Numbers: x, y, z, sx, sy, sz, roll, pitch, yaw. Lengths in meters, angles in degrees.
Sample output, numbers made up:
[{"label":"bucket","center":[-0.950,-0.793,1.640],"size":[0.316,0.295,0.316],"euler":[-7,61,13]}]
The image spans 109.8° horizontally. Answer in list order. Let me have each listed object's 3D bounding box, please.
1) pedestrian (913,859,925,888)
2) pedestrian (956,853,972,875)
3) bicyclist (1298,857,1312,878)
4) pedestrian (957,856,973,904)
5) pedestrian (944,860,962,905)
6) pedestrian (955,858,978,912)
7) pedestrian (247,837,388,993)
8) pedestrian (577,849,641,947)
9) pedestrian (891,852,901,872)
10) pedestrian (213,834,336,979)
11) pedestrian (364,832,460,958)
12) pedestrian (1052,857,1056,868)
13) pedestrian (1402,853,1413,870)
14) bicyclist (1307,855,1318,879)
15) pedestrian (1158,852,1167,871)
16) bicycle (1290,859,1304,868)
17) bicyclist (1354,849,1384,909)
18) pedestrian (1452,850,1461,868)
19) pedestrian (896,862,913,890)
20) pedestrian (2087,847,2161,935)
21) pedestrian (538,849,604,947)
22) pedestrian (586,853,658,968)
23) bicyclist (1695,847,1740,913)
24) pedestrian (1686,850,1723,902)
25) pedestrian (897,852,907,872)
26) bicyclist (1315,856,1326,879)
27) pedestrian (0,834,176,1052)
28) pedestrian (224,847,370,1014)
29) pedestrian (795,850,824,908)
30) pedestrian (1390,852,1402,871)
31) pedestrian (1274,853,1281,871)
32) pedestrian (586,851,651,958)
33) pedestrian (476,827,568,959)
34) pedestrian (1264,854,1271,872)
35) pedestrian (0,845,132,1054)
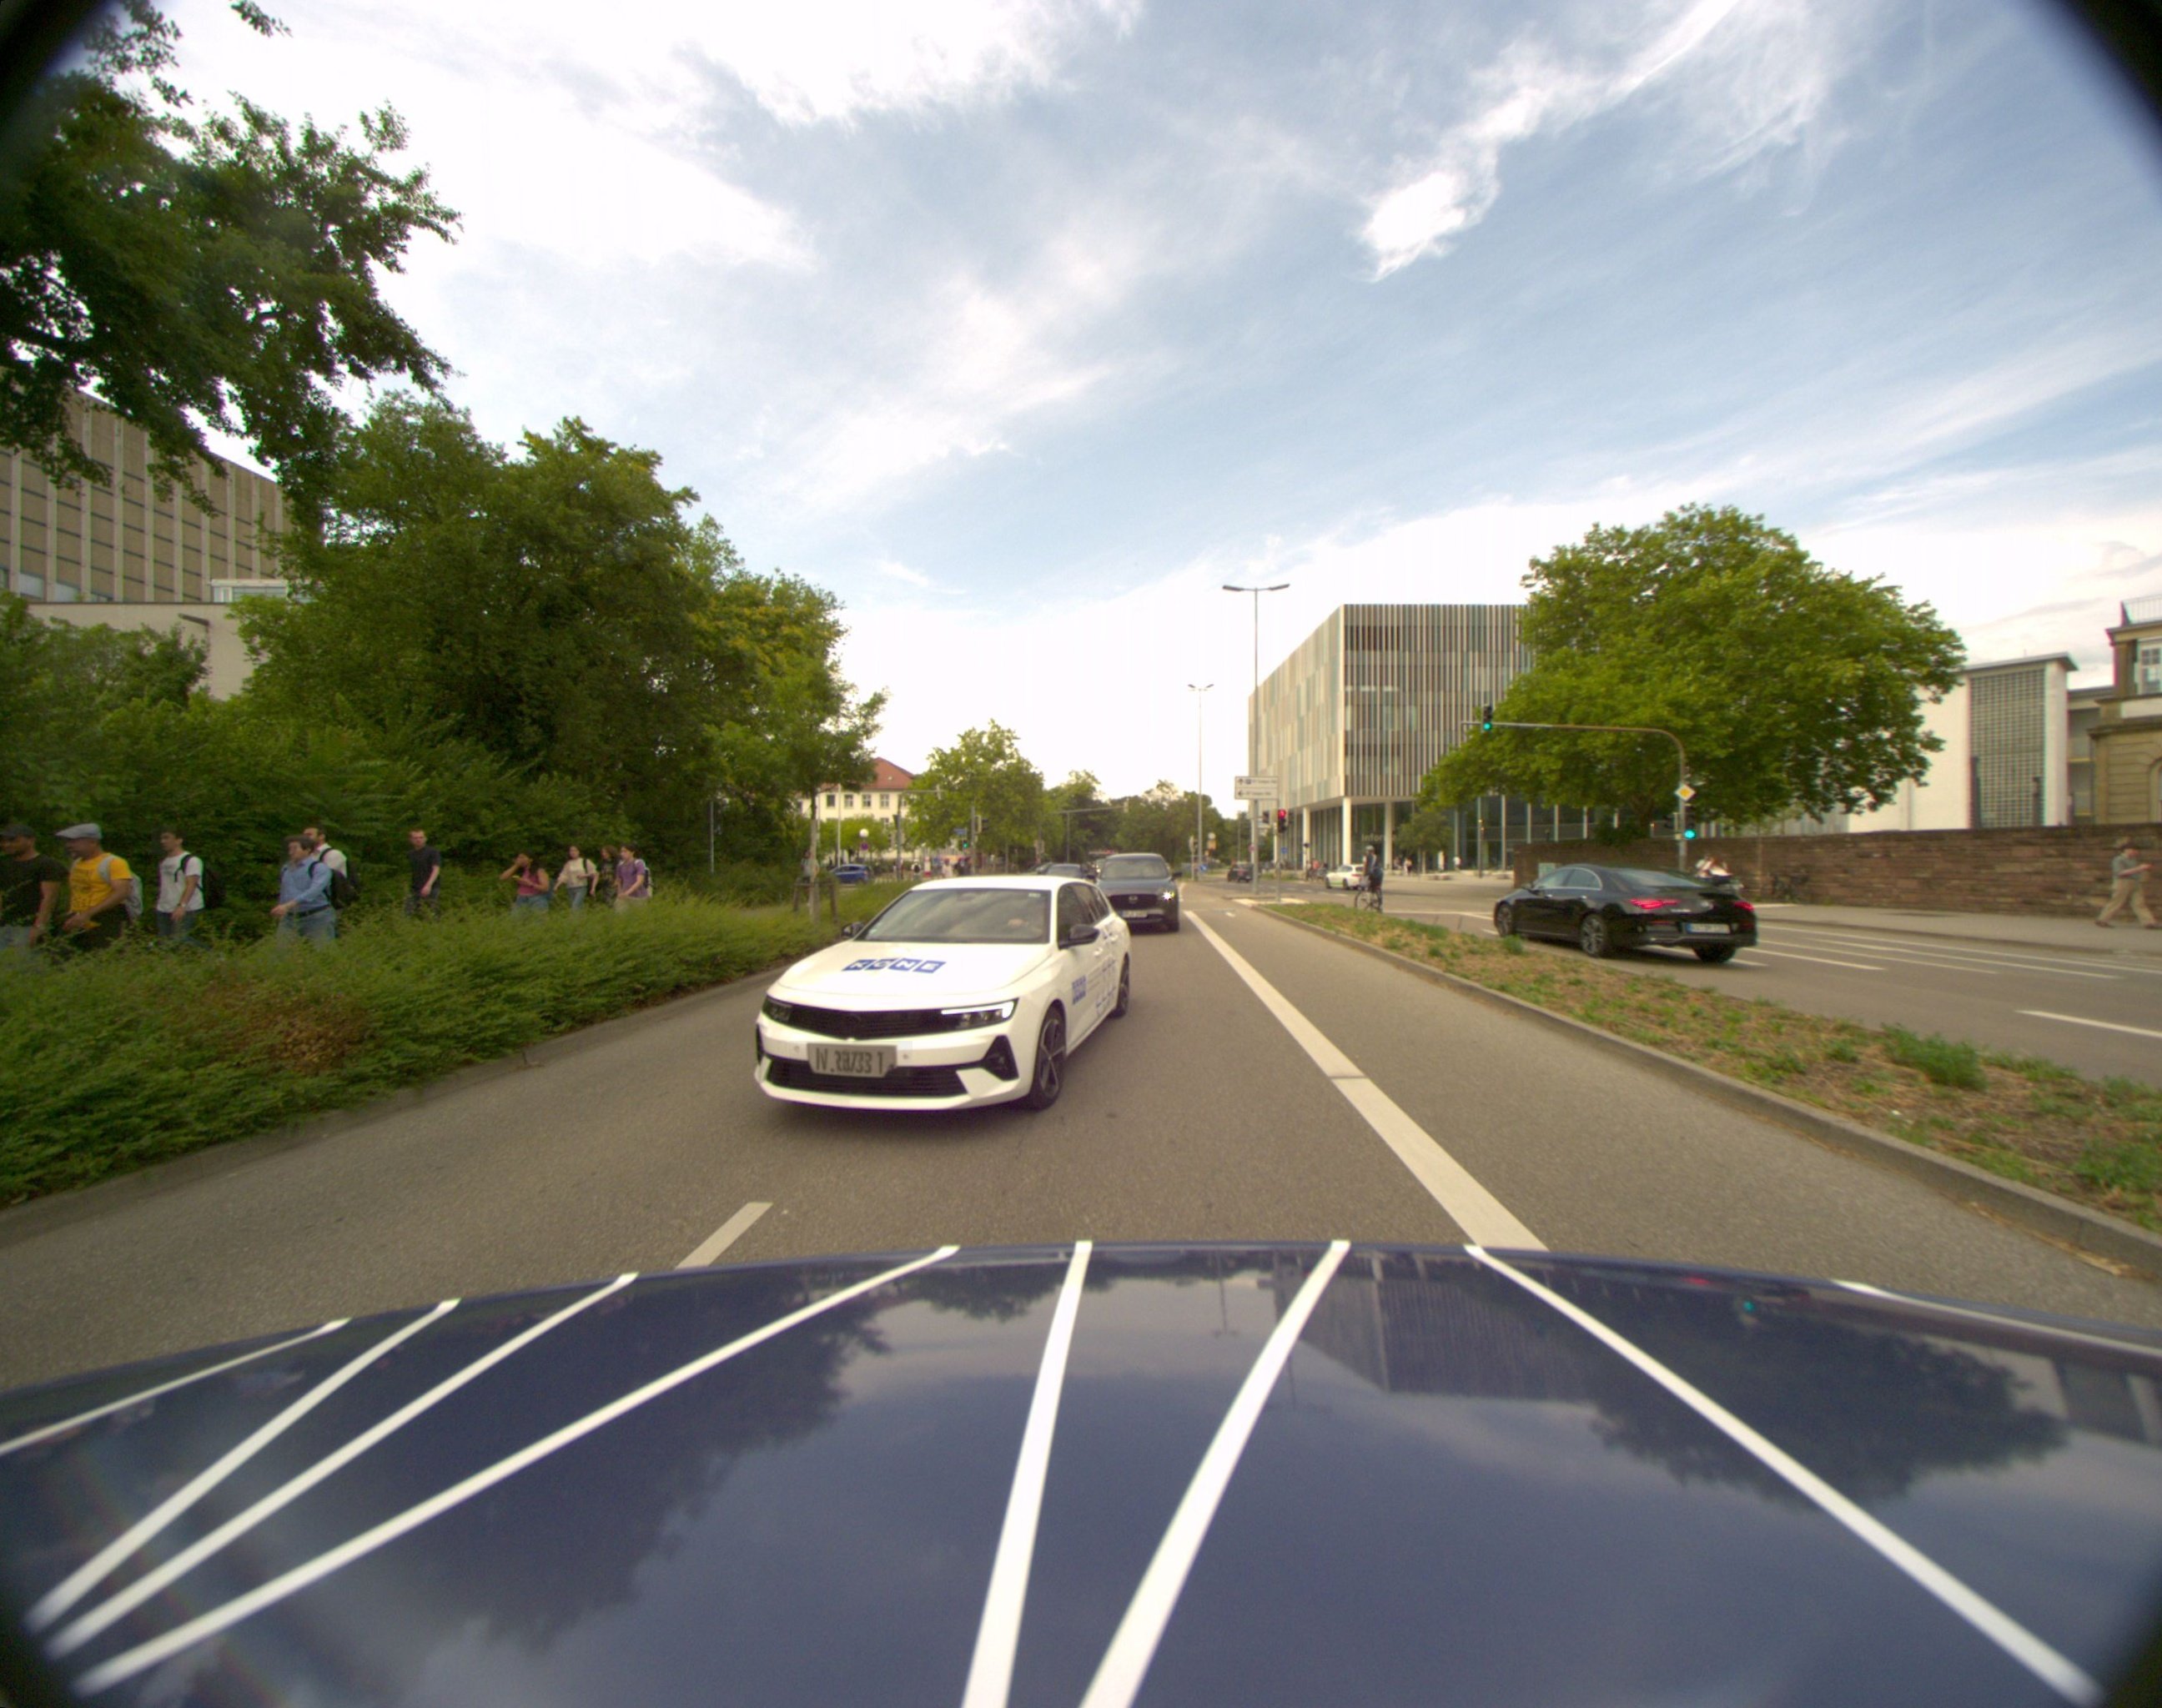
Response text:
[{"label":"pedestrian","center":[-10.463,1.274,49.141],"size":[0.647,1.841,0.828],"euler":[-2,1,-10]},{"label":"pedestrian","center":[-8.965,0.776,58.254],"size":[0.953,1.698,0.703],"euler":[-2,0,20]},{"label":"bicyclist","center":[18.054,1.120,61.268],"size":[0.729,1.663,0.723],"euler":[-2,1,-13]},{"label":"pedestrian","center":[-4.186,0.938,27.439],"size":[0.455,1.725,0.637],"euler":[0,0,2]},{"label":"pedestrian","center":[-4.854,1.065,28.829],"size":[0.547,1.677,0.637],"euler":[0,0,2]},{"label":"pedestrian","center":[-3.693,0.989,24.550],"size":[0.603,1.725,0.654],"euler":[0,0,2]},{"label":"pedestrian","center":[-9.105,0.699,9.102],"size":[0.658,1.756,0.958],"euler":[-2,0,2]},{"label":"pedestrian","center":[-8.571,0.772,13.829],"size":[0.658,1.735,0.780],"euler":[0,0,2]},{"label":"pedestrian","center":[-18.120,0.763,74.357],"size":[0.687,1.951,0.601],"euler":[-2,1,-38]},{"label":"pedestrian","center":[-9.810,0.616,9.272],"size":[0.658,1.689,0.780],"euler":[0,0,2]},{"label":"pedestrian","center":[-9.485,0.564,10.796],"size":[0.658,1.735,0.780],"euler":[0,0,2]},{"label":"pedestrian","center":[-4.998,1.561,140.001],"size":[0.798,1.922,0.760],"euler":[0,0,0]},{"label":"pedestrian","center":[29.844,0.691,69.472],"size":[0.731,1.591,0.677],"euler":[-1,0,-30]},{"label":"bicyclist","center":[18.058,1.016,59.237],"size":[0.602,1.796,0.561],"euler":[-2,1,-13]},{"label":"pedestrian","center":[8.030,0.773,75.015],"size":[0.727,1.842,1.064],"euler":[0,0,-1]},{"label":"bicycle","center":[27.408,1.185,96.384],"size":[1.581,1.017,0.389],"euler":[-2,0,-4]},{"label":"bicyclist","center":[7.581,0.648,20.021],"size":[0.573,1.564,0.700],"euler":[0,0,8]},{"label":"pedestrian","center":[38.033,0.530,77.042],"size":[0.598,1.768,0.635],"euler":[-1,1,-44]},{"label":"pedestrian","center":[-11.626,1.450,50.037],"size":[0.769,1.794,0.892],"euler":[-2,0,6]},{"label":"pedestrian","center":[21.944,0.757,15.991],"size":[0.748,1.772,0.782],"euler":[-1,2,-29]},{"label":"pedestrian","center":[-9.262,0.776,13.831],"size":[0.658,1.735,0.780],"euler":[0,0,2]},{"label":"pedestrian","center":[-7.142,0.856,11.856],"size":[0.625,1.735,0.780],"euler":[0,0,2]},{"label":"bicyclist","center":[17.398,0.693,20.783],"size":[0.619,1.772,0.812],"euler":[0,0,9]},{"label":"pedestrian","center":[22.103,0.759,26.936],"size":[0.748,1.772,0.782],"euler":[-1,2,-31]},{"label":"pedestrian","center":[-17.650,0.752,75.066],"size":[0.687,1.951,0.601],"euler":[-2,1,-38]},{"label":"bicyclist","center":[18.209,1.017,57.733],"size":[0.602,1.796,0.561],"euler":[0,0,-14]},{"label":"pedestrian","center":[-8.337,0.690,6.292],"size":[0.658,1.679,0.842],"euler":[0,0,2]},{"label":"pedestrian","center":[-8.085,0.751,7.874],"size":[0.658,1.638,0.812],"euler":[0,0,2]},{"label":"pedestrian","center":[-8.532,0.781,23.916],"size":[0.646,1.784,0.740],"euler":[0,-1,2]},{"label":"pedestrian","center":[29.142,0.695,70.259],"size":[0.731,1.730,0.677],"euler":[-1,0,-33]},{"label":"pedestrian","center":[20.078,0.848,77.725],"size":[0.512,1.826,0.624],"euler":[0,-1,0]},{"label":"pedestrian","center":[-7.699,0.816,12.684],"size":[0.582,1.735,0.790],"euler":[0,0,2]},{"label":"pedestrian","center":[-7.581,0.510,10.339],"size":[0.658,1.735,0.780],"euler":[0,0,2]},{"label":"pedestrian","center":[19.065,0.923,77.497],"size":[0.512,1.826,0.772],"euler":[0,-1,0]},{"label":"pedestrian","center":[-8.872,0.756,6.346],"size":[0.658,1.657,0.971],"euler":[0,0,2]}]
